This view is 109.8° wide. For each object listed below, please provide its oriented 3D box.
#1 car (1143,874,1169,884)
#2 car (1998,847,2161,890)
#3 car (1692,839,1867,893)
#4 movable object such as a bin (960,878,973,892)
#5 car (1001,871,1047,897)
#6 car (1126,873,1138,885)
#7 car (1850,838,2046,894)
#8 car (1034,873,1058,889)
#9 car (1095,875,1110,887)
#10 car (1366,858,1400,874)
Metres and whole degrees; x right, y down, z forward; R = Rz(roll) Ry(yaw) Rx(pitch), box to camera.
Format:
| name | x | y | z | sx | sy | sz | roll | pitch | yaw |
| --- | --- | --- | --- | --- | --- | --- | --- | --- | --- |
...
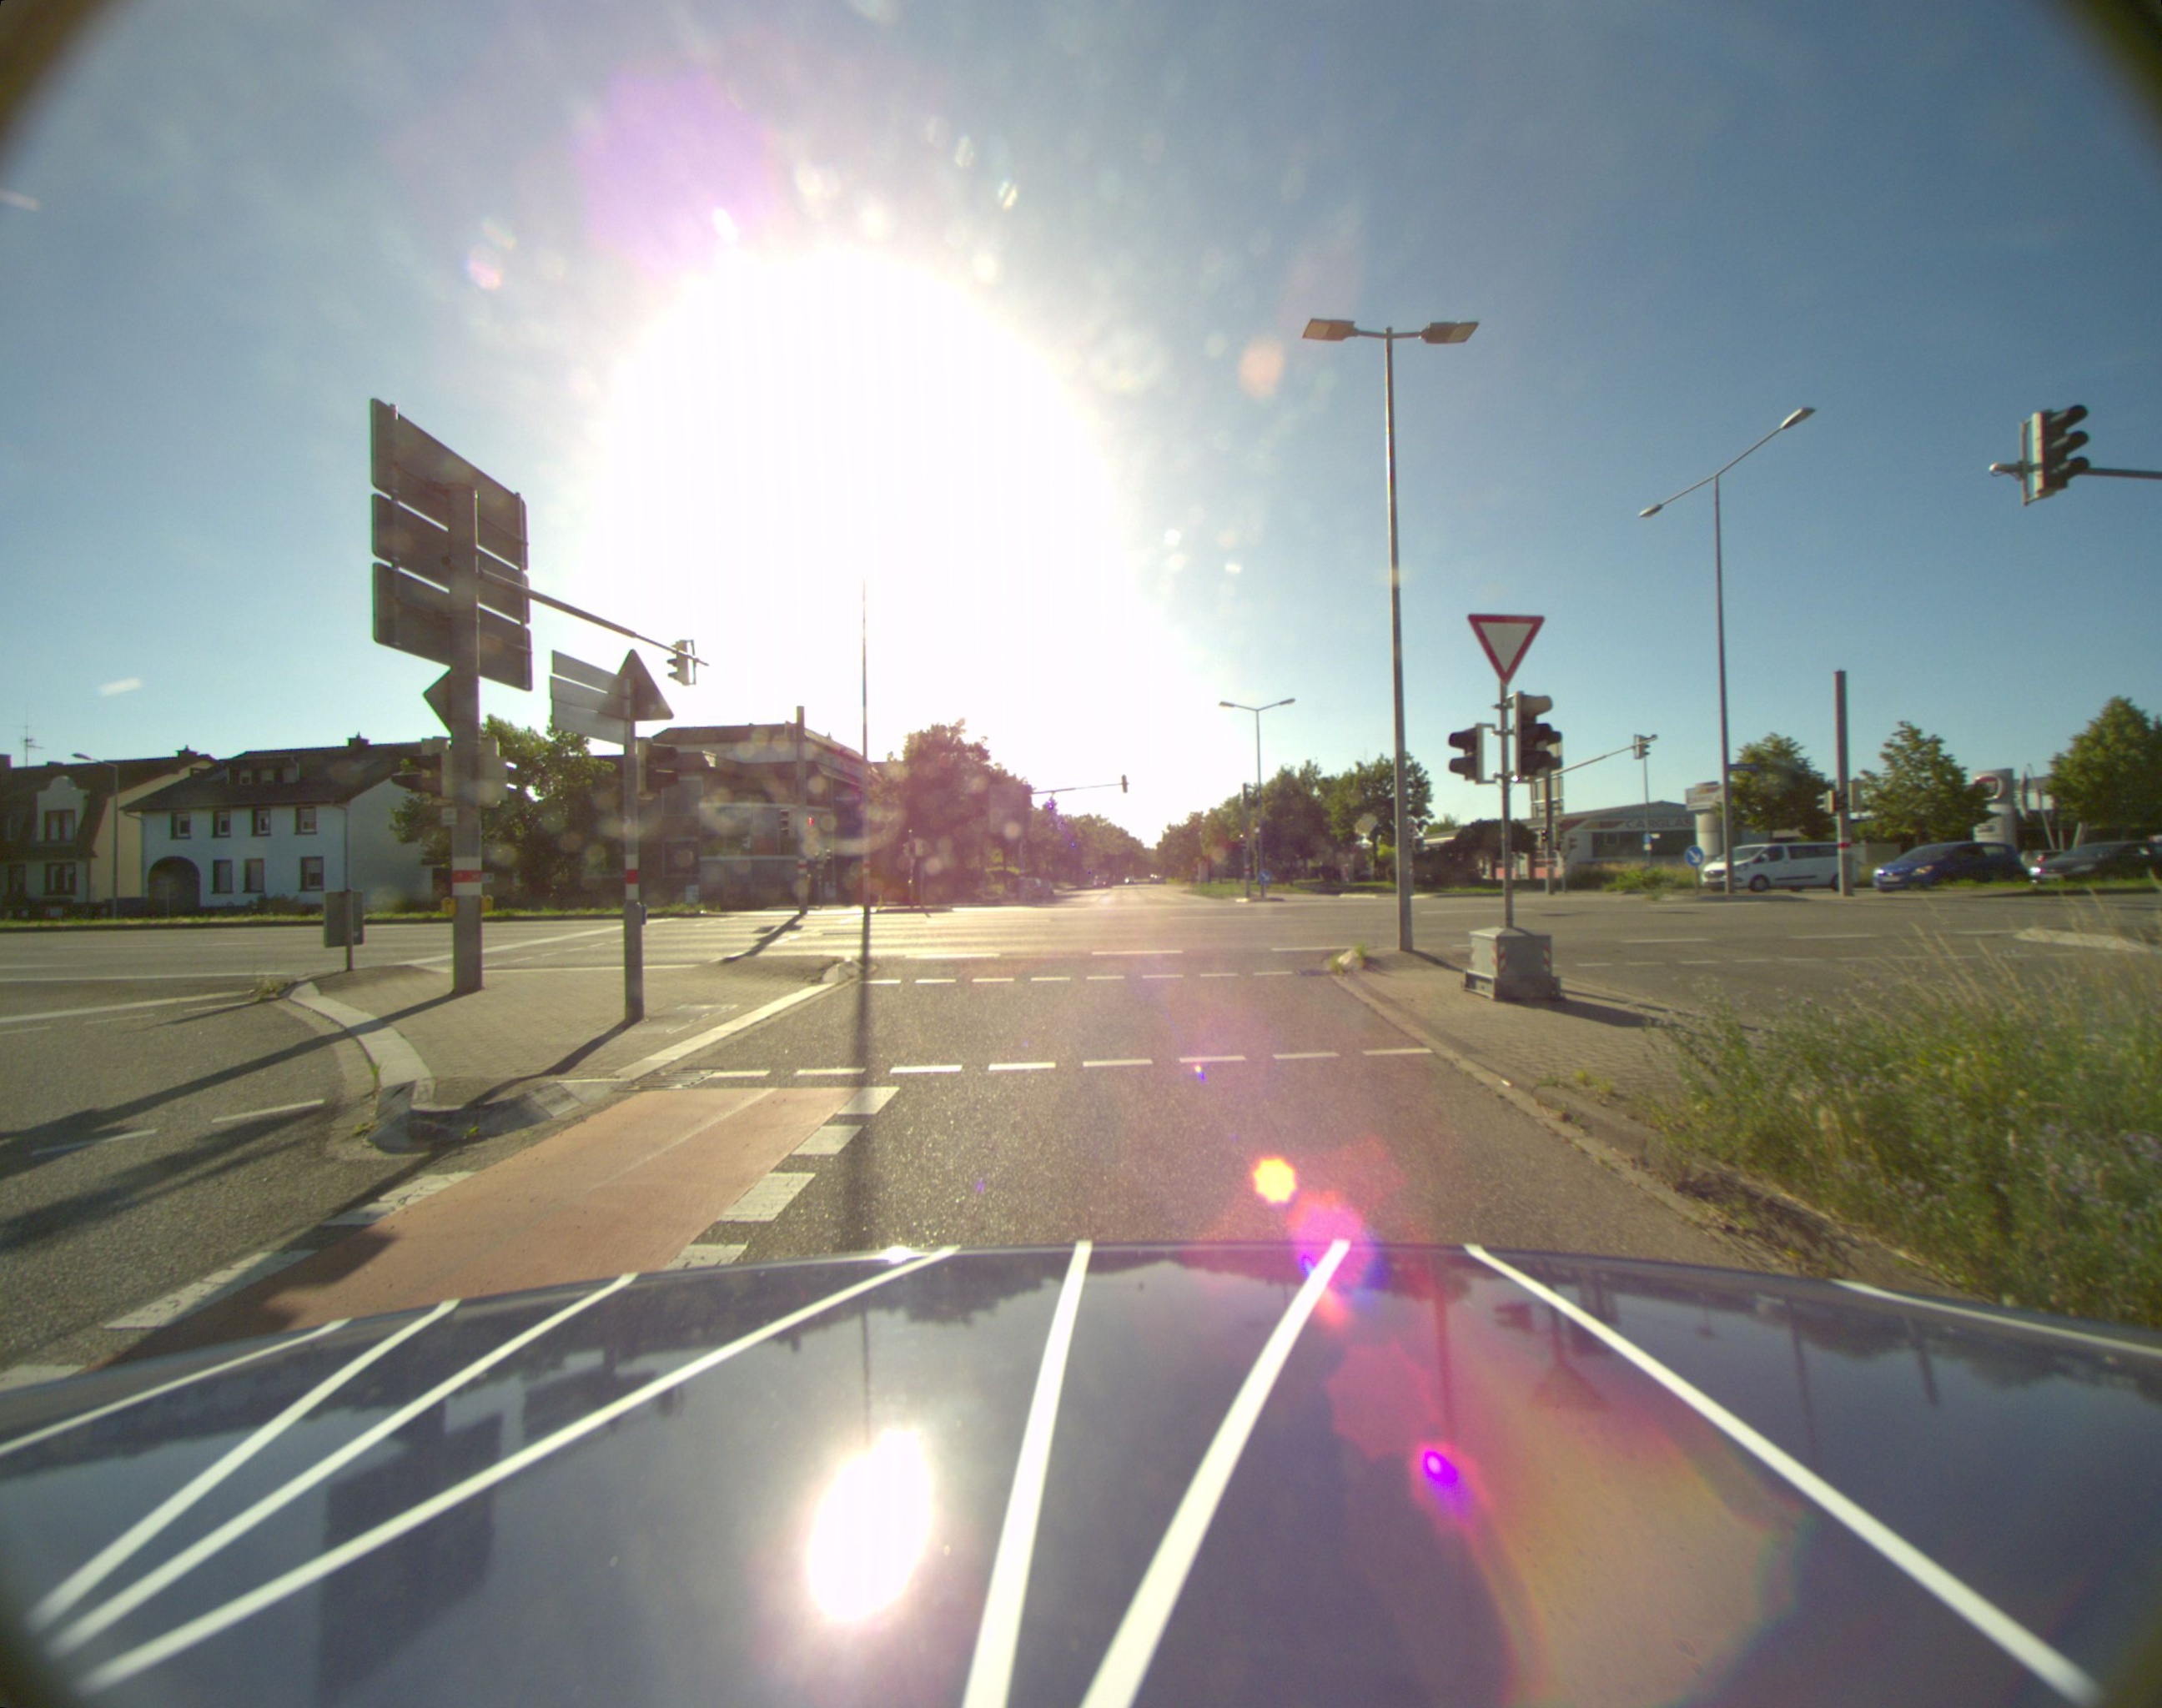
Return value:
| name | x | y | z | sx | sy | sz | roll | pitch | yaw |
| --- | --- | --- | --- | --- | --- | --- | --- | --- | --- |
| car | 13.365 | 4.424 | 135.449 | 4.488 | 1.695 | 2.002 | -1 | -1 | 9 |
| car | 32.404 | 0.481 | 24.251 | 4.037 | 1.266 | 1.894 | -1 | -3 | -2 |
| car | 28.237 | 0.516 | 30.833 | 5.273 | 2.001 | 2.048 | -1 | -3 | -2 |
| movable object such as a bin | -11.170 | 3.068 | 74.284 | 1.089 | 1.314 | 0.797 | -2 | -1 | 4 |
| car | -3.624 | 1.884 | 48.691 | 1.775 | 1.477 | 3.785 | -3 | -2 | 14 |
| car | 8.878 | 4.259 | 131.605 | 1.730 | 2.002 | 4.000 | -1 | 0 | 0 |
| car | 27.134 | 0.412 | 23.889 | 4.037 | 1.633 | 1.894 | -1 | -3 | -2 |
| car | -3.326 | 2.621 | 73.267 | 1.776 | 1.477 | 4.217 | 0 | -1 | 4 |
| car | 2.817 | 3.474 | 97.891 | 1.776 | 1.477 | 4.217 | 0 | -1 | 4 |
| car | 44.516 | 1.781 | 111.939 | 4.211 | 2.203 | 1.778 | -1 | -1 | 1 |
